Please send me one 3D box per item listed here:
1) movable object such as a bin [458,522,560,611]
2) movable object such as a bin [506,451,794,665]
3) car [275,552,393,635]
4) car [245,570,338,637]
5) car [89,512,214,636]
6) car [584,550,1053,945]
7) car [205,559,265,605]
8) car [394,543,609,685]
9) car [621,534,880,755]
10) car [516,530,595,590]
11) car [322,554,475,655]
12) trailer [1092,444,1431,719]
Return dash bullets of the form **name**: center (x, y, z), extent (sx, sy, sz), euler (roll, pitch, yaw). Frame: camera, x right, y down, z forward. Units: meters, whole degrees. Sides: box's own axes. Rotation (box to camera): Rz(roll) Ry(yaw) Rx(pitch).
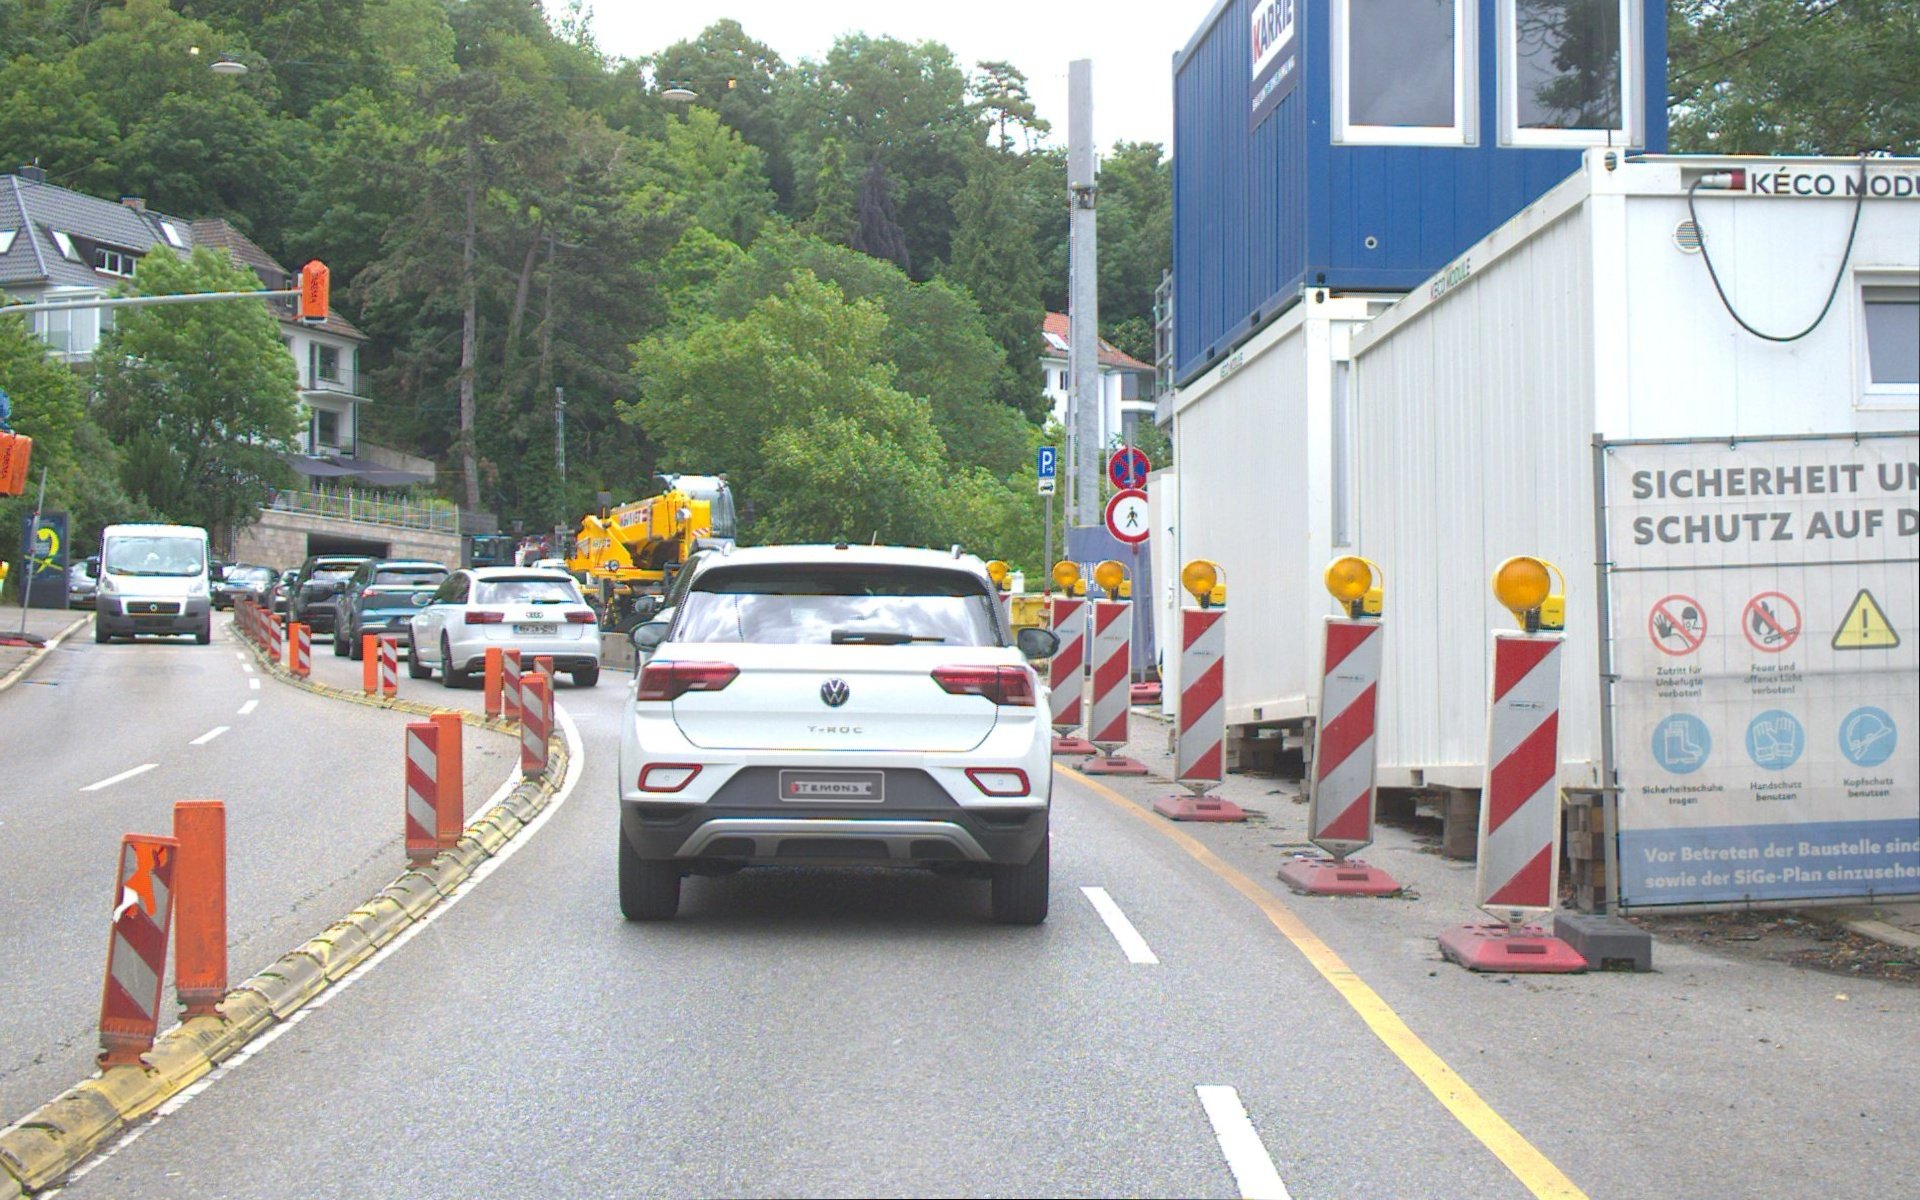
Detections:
- **movable object such as a bin**: center (-13.979, -1.037, 106.810), extent (2.212, 2.654, 4.944), euler (1, 1, 3)
- **movable object such as a bin**: center (-5.027, -0.665, 54.237), extent (2.810, 3.060, 7.825), euler (2, 0, -18)
- **car**: center (-12.017, -0.144, 65.851), extent (1.794, 1.505, 4.001), euler (-1, 1, -16)
- **car**: center (-15.820, 0.063, 81.211), extent (1.794, 1.505, 4.001), euler (-1, 1, -16)
- **car**: center (-15.032, -0.508, 64.126), extent (2.066, 2.180, 4.964), euler (-1, 1, -11)
- **car**: center (-0.531, 0.549, 15.308), extent (1.810, 1.526, 4.000), euler (0, 1, 1)
- **car**: center (-23.019, -0.588, 109.263), extent (1.671, 1.425, 3.588), euler (0, 0, -9)
- **car**: center (-5.720, 0.140, 42.558), extent (1.809, 1.657, 4.001), euler (0, 1, -20)
- **car**: center (-1.776, 0.311, 28.021), extent (1.809, 1.657, 4.001), euler (0, 1, -8)
- **car**: center (-10.586, -1.029, 89.771), extent (1.794, 1.505, 4.001), euler (0, 0, -10)
- **car**: center (-8.850, 0.044, 53.952), extent (1.794, 1.505, 4.001), euler (0, 1, -18)
- **trailer**: center (2.934, -0.209, 34.781), extent (2.106, 2.541, 5.120), euler (-1, 1, -10)
